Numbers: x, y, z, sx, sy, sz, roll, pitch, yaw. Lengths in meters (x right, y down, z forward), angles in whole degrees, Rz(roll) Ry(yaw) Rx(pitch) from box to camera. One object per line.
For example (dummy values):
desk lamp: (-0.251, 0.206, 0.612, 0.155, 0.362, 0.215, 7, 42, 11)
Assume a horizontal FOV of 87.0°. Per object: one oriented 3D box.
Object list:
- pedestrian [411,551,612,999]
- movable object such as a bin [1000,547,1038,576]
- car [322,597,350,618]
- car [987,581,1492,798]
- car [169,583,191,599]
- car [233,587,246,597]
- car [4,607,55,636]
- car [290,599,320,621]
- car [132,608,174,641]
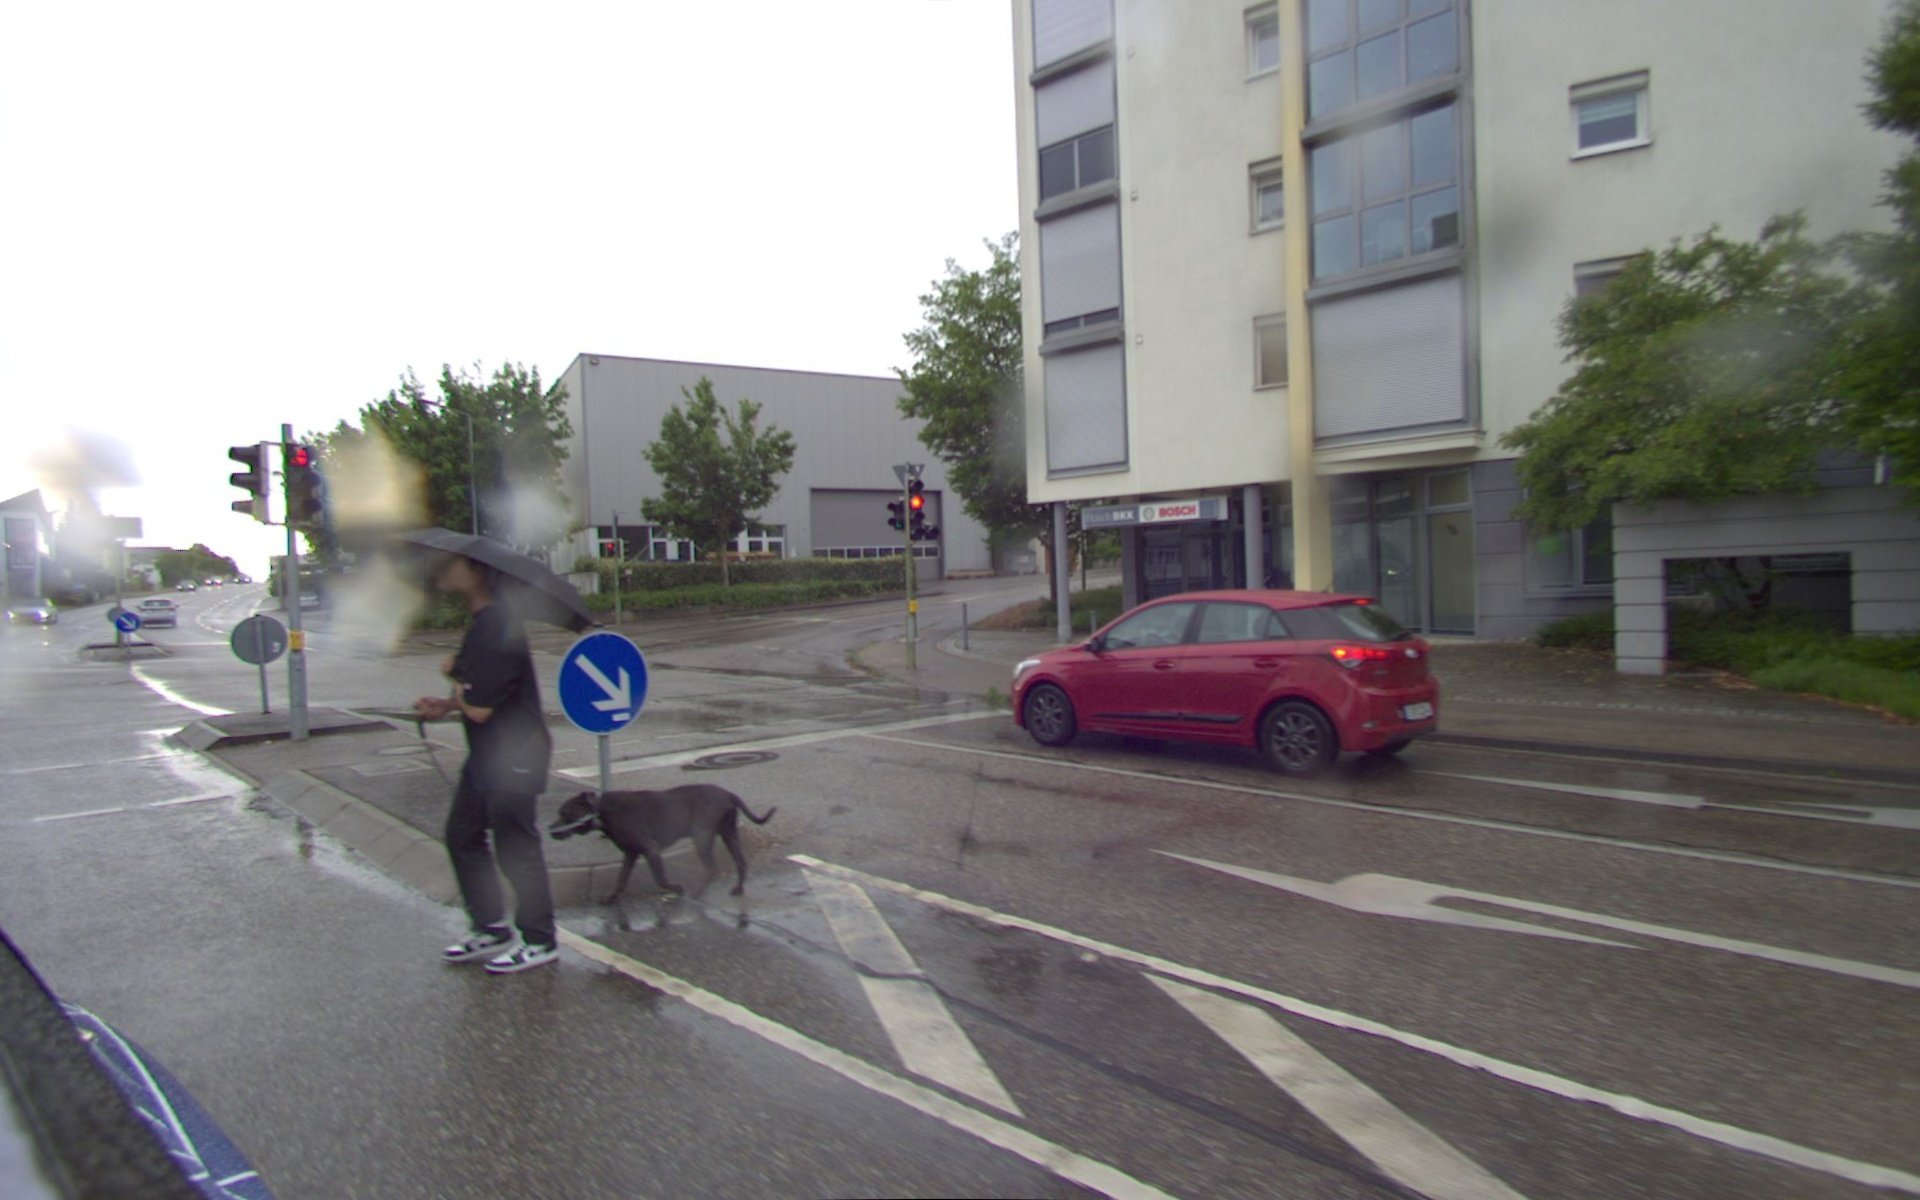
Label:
pedestrian: (-1.993, 0.671, 4.477, 0.657, 1.715, 0.950, -3, 1, -27)
movable object such as a bin: (3.413, -2.206, 58.383, 1.562, 1.546, 1.453, -4, 3, -30)
car: (-48.705, 0.598, 78.992, 1.709, 1.489, 4.033, -3, 2, -30)
car: (2.320, 0.656, 9.181, 1.754, 1.518, 4.107, 1, -1, -44)
car: (-104.305, -1.210, 135.357, 1.968, 2.028, 4.010, -7, 4, -35)
car: (-123.069, -1.348, 172.842, 1.800, 1.699, 4.010, -2, 0, -35)
car: (-55.539, 1.255, 60.480, 1.870, 1.556, 4.029, -4, 2, -38)
car: (-50.135, 0.741, 77.512, 1.709, 1.489, 4.033, -3, 2, -30)
car: (-44.483, 1.316, 55.761, 1.668, 1.566, 3.913, -5, 3, -40)
